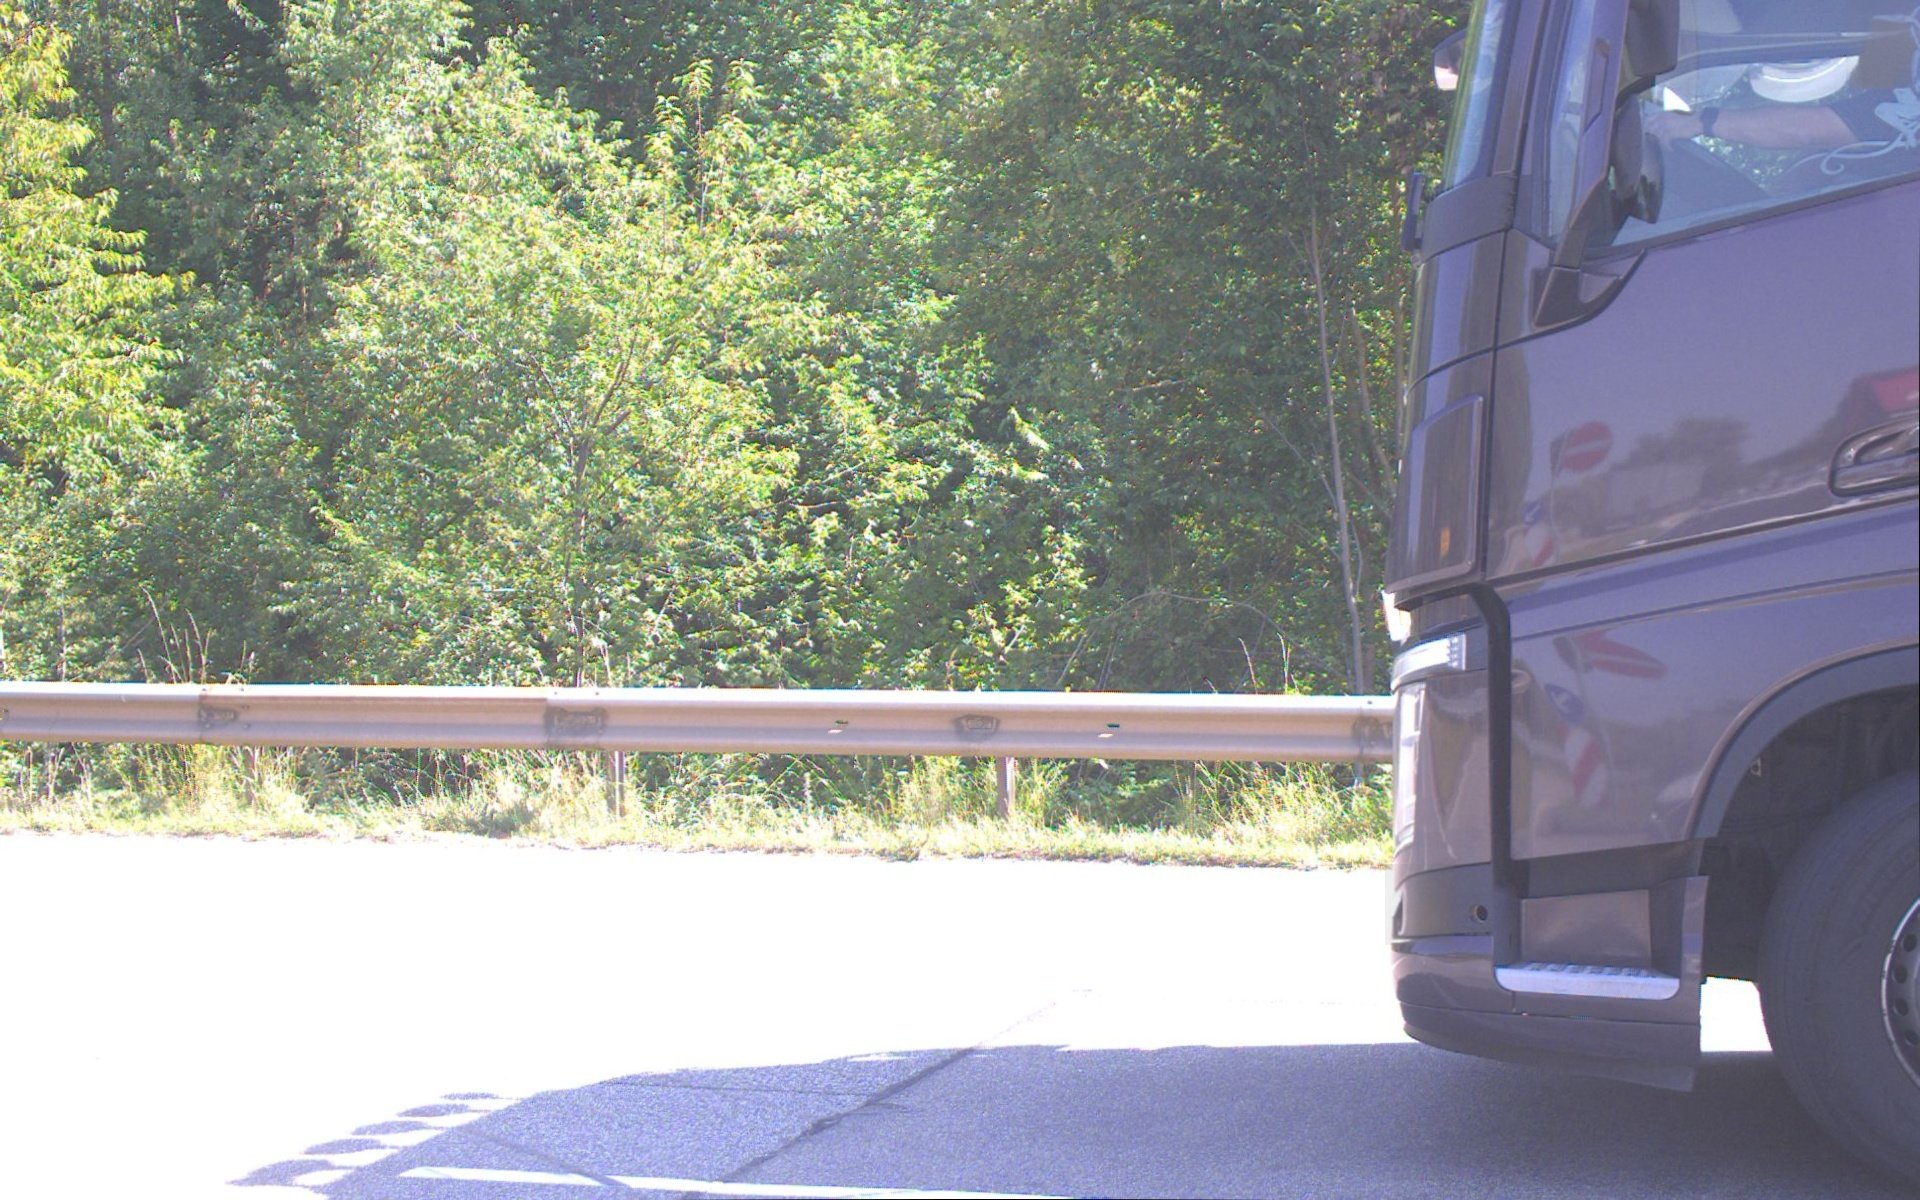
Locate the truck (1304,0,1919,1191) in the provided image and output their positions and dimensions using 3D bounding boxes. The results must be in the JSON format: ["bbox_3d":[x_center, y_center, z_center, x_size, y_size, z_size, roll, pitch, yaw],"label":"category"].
[{"bbox_3d":[4.074,-0.779,8.478,5.955,4.159,2.878,1,1,16],"label":"truck"}]
